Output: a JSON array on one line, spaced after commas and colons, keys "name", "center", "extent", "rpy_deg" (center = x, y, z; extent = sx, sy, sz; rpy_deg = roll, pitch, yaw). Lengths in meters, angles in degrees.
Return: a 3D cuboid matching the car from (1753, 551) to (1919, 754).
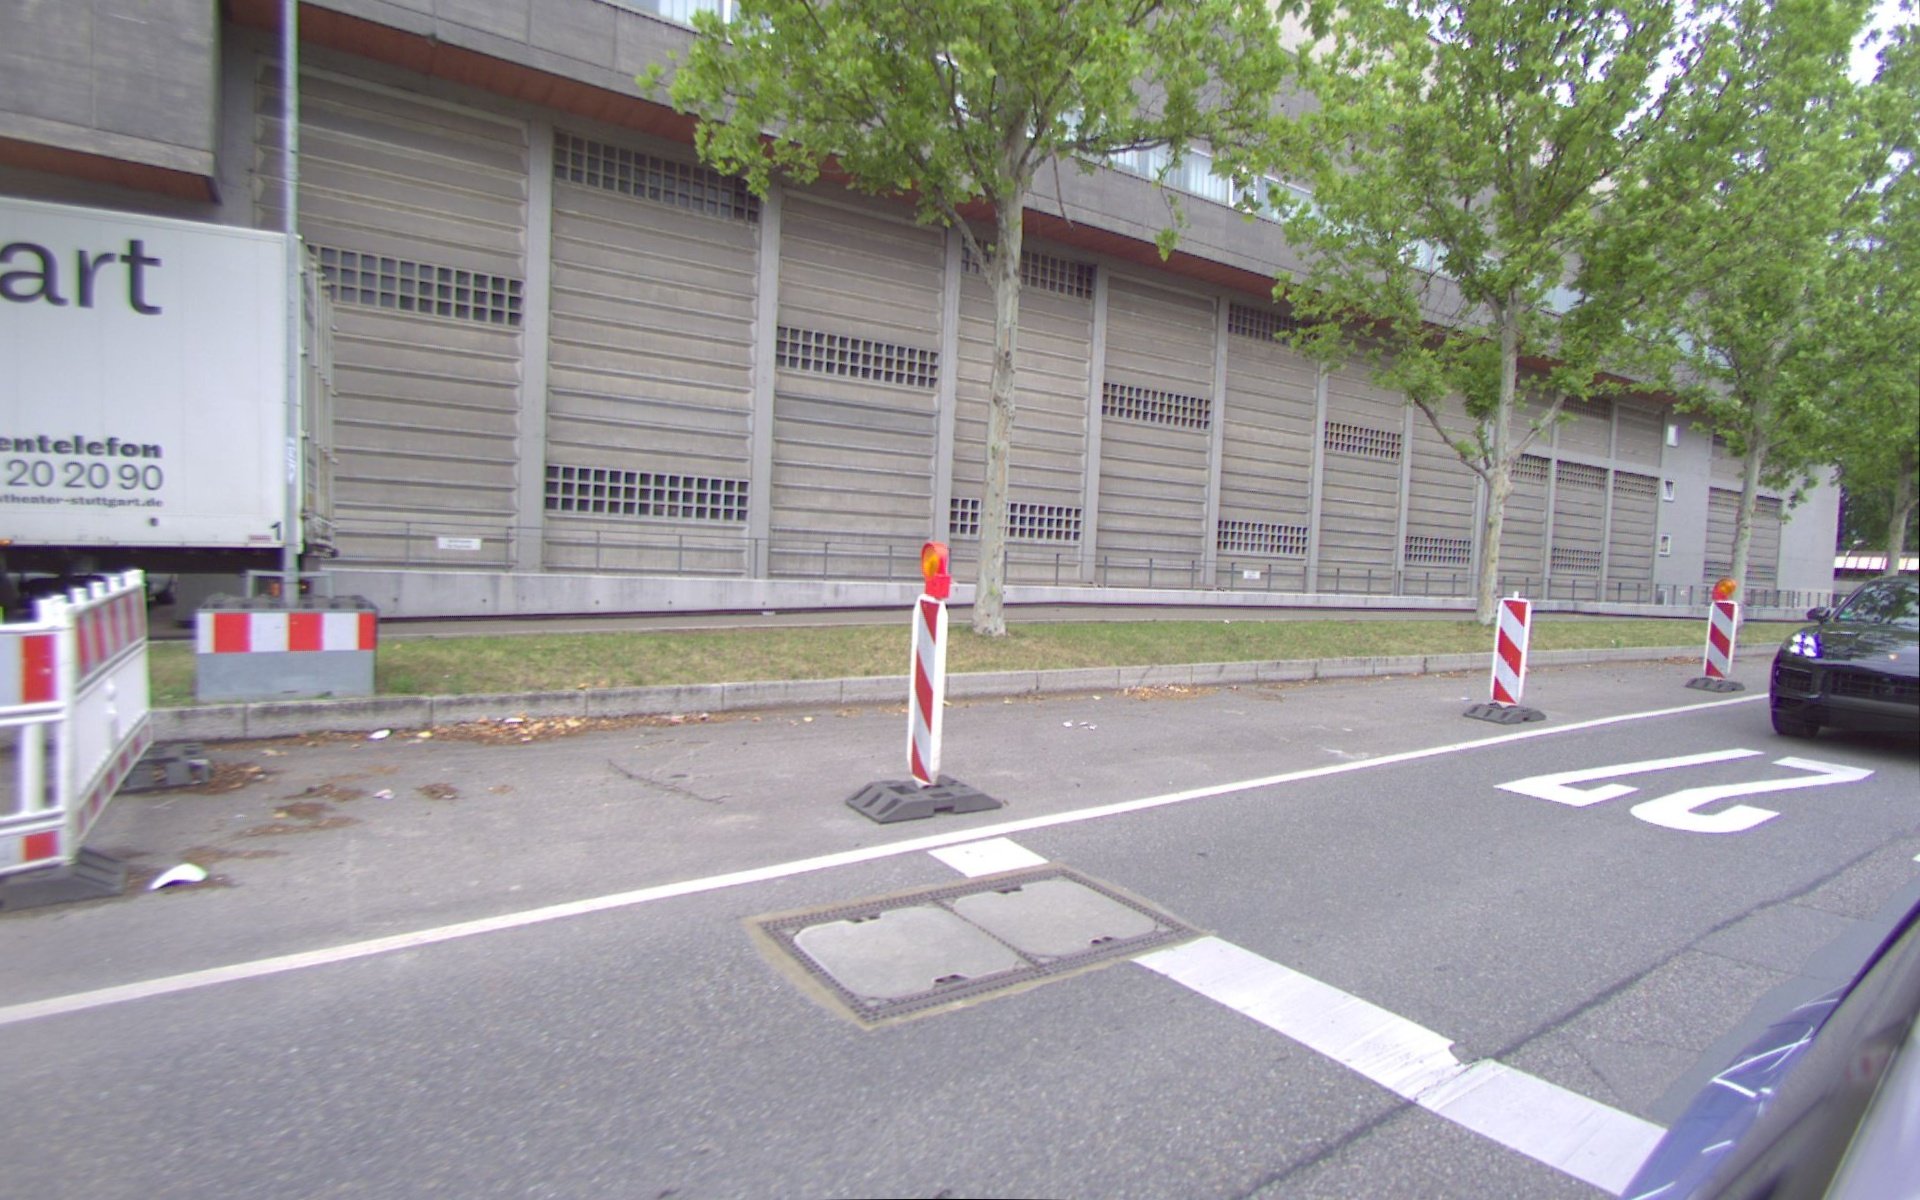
[{"name": "car", "center": [10.012, 0.482, 10.057], "extent": [4.519, 1.667, 1.960], "rpy_deg": [0, 5, -34]}]
